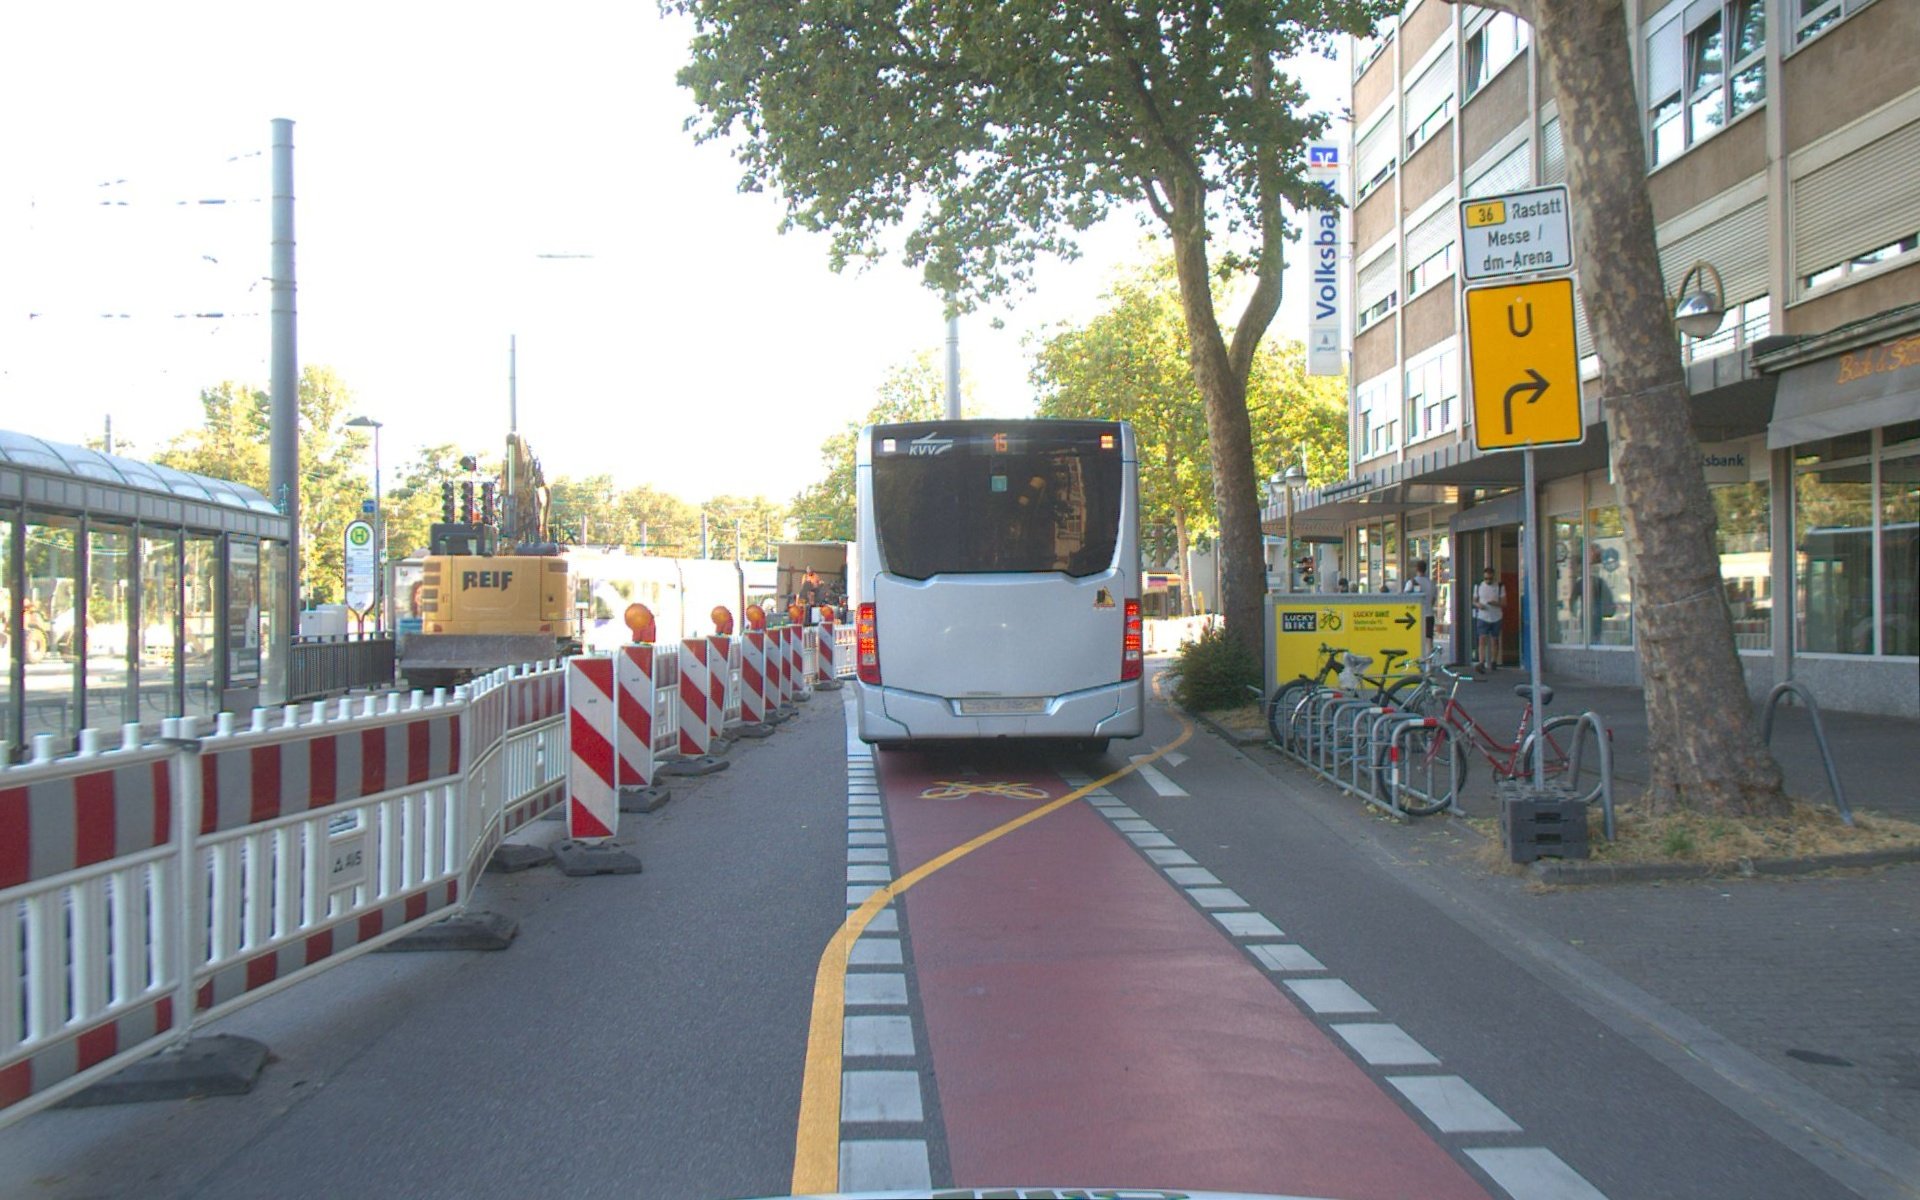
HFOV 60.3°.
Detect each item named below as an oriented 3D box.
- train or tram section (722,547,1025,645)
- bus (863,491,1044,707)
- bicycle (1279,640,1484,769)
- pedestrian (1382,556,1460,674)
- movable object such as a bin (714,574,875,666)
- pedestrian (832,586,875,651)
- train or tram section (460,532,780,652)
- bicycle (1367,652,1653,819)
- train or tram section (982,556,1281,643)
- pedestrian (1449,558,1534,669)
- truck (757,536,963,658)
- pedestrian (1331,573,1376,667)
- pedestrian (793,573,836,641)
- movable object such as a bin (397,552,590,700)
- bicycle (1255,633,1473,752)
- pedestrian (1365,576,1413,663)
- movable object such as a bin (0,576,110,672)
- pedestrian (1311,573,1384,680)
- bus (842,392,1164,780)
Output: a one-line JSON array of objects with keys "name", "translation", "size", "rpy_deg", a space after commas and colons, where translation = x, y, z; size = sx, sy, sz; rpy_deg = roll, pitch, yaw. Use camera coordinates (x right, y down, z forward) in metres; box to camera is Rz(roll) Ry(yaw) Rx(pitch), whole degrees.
[{"name": "train or tram section", "translation": [-3.199, -0.096, 65.629], "size": [12.643, 3.611, 2.702], "rpy_deg": [0, -1, -37]}, {"name": "bus", "translation": [-0.303, 0.004, 28.878], "size": [2.654, 3.161, 8.974], "rpy_deg": [-1, 0, -3]}, {"name": "bicycle", "translation": [3.838, 0.941, 15.137], "size": [1.678, 1.077, 0.644], "rpy_deg": [-2, 0, -1]}, {"name": "pedestrian", "translation": [7.795, 0.251, 28.006], "size": [0.821, 1.901, 1.099], "rpy_deg": [-5, 0, -2]}, {"name": "movable object such as a bin", "translation": [-4.341, 0.494, 44.290], "size": [1.954, 2.296, 5.205], "rpy_deg": [1, 0, 24]}, {"name": "pedestrian", "translation": [-3.032, 0.523, 47.211], "size": [0.952, 1.829, 1.070], "rpy_deg": [0, 0, 15]}, {"name": "train or tram section", "translation": [-11.061, -0.146, 56.276], "size": [2.795, 3.595, 13.376], "rpy_deg": [-1, -1, 28]}, {"name": "bicycle", "translation": [3.822, 0.928, 11.555], "size": [1.754, 1.040, 0.643], "rpy_deg": [-2, 0, -5]}, {"name": "train or tram section", "translation": [7.516, -0.022, 71.501], "size": [13.098, 3.581, 2.632], "rpy_deg": [0, -1, -21]}, {"name": "pedestrian", "translation": [8.783, 0.218, 27.356], "size": [0.881, 1.726, 1.070], "rpy_deg": [-6, 0, -2]}, {"name": "truck", "translation": [-3.027, -0.091, 53.601], "size": [2.756, 3.603, 8.977], "rpy_deg": [-1, 0, 25]}, {"name": "pedestrian", "translation": [7.454, 0.378, 31.351], "size": [0.571, 1.738, 0.679], "rpy_deg": [-4, 0, -2]}, {"name": "pedestrian", "translation": [-4.439, 0.213, 50.417], "size": [0.917, 2.049, 1.001], "rpy_deg": [-1, 1, 23]}, {"name": "movable object such as a bin", "translation": [-8.057, 0.415, 29.104], "size": [2.593, 2.358, 4.893], "rpy_deg": [0, 0, -8]}, {"name": "bicycle", "translation": [4.024, 0.906, 16.548], "size": [1.948, 1.077, 0.770], "rpy_deg": [-2, -1, -5]}, {"name": "pedestrian", "translation": [8.127, 0.359, 31.353], "size": [0.620, 1.601, 0.774], "rpy_deg": [-3, 0, -2]}, {"name": "movable object such as a bin", "translation": [-27.247, 0.704, 48.636], "size": [2.107, 2.685, 4.598], "rpy_deg": [-1, 0, 0]}, {"name": "pedestrian", "translation": [6.620, 0.443, 28.337], "size": [0.881, 1.740, 1.070], "rpy_deg": [-3, 0, -2]}, {"name": "bus", "translation": [0.105, -0.118, 19.057], "size": [2.679, 3.194, 10.697], "rpy_deg": [0, 0, -3]}]
